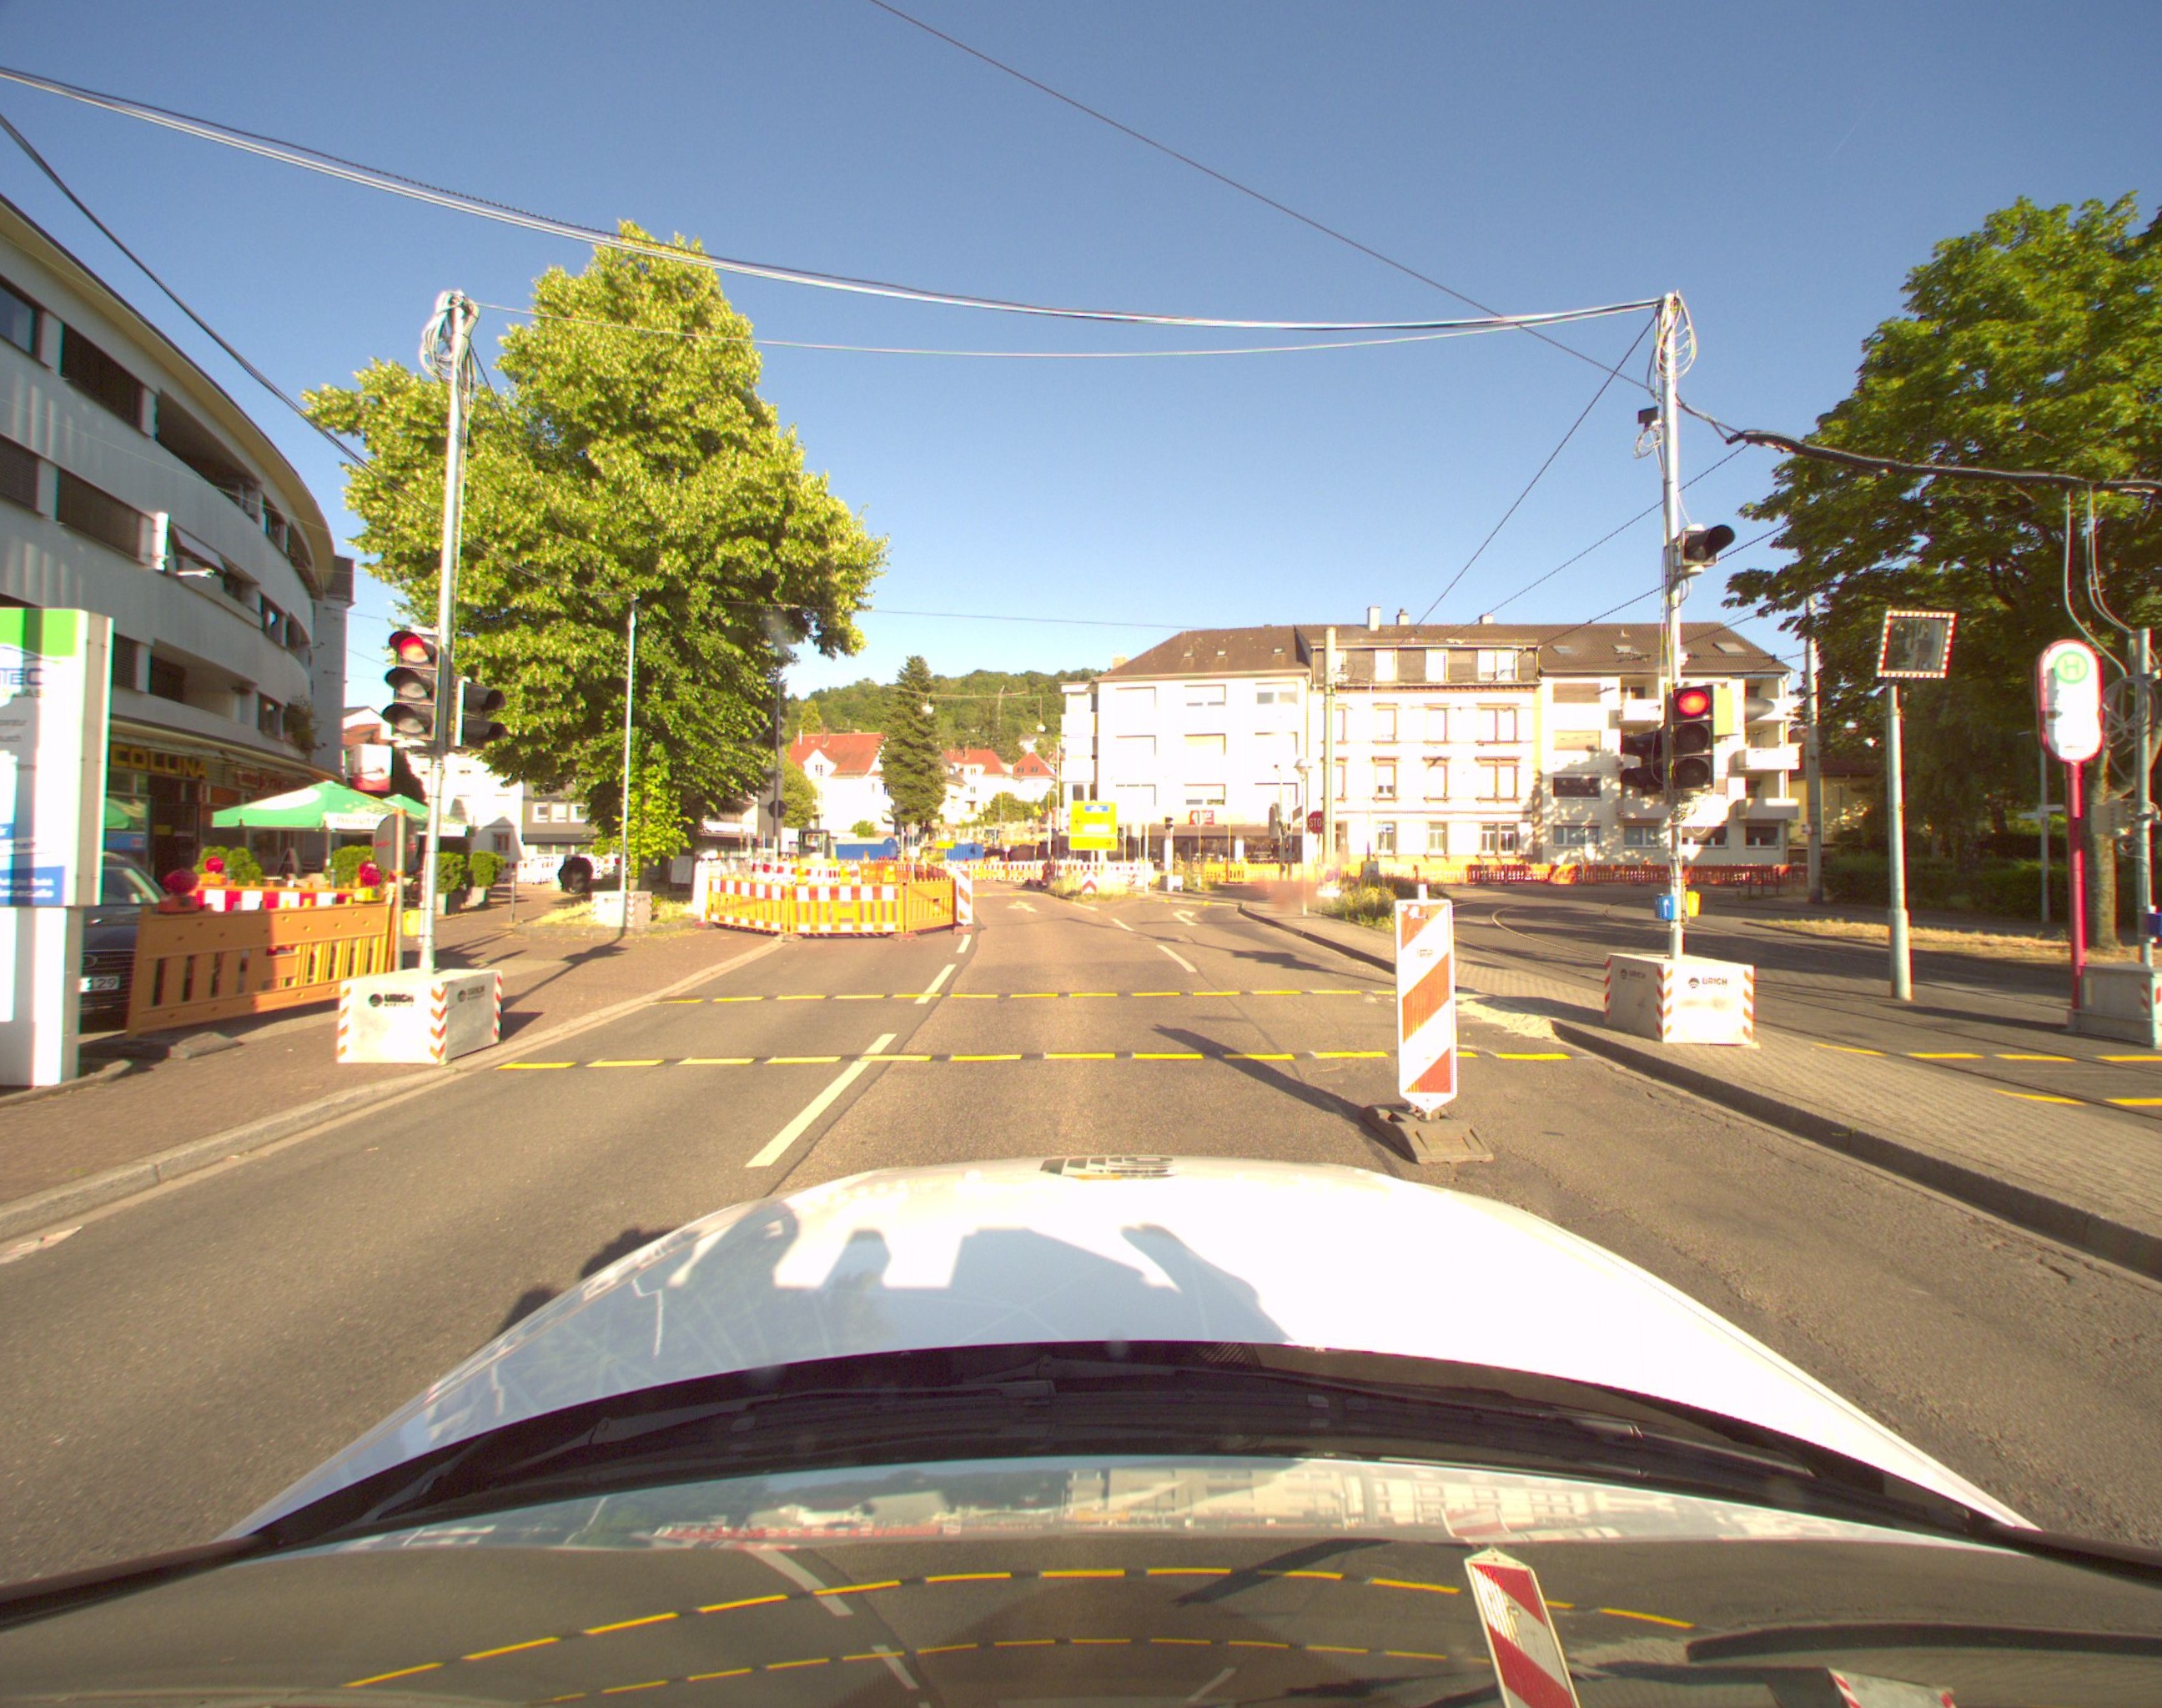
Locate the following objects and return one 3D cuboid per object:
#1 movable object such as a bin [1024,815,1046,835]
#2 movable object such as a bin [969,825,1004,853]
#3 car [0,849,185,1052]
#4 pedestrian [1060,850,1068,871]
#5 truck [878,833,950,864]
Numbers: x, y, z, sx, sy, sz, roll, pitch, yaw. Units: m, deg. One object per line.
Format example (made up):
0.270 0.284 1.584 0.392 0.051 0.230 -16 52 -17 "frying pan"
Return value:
-6.437 -4.025 114.187 2.176 2.690 4.013 0 0 12 "movable object such as a bin"
-9.226 -1.451 79.678 2.176 2.690 4.013 0 0 12 "movable object such as a bin"
-9.605 0.716 7.527 4.246 1.454 1.660 1 0 43 "car"
-1.418 0.556 67.311 0.638 1.760 0.718 0 0 2 "pedestrian"
-13.994 -0.429 69.169 2.340 2.416 9.184 0 0 13 "truck"
